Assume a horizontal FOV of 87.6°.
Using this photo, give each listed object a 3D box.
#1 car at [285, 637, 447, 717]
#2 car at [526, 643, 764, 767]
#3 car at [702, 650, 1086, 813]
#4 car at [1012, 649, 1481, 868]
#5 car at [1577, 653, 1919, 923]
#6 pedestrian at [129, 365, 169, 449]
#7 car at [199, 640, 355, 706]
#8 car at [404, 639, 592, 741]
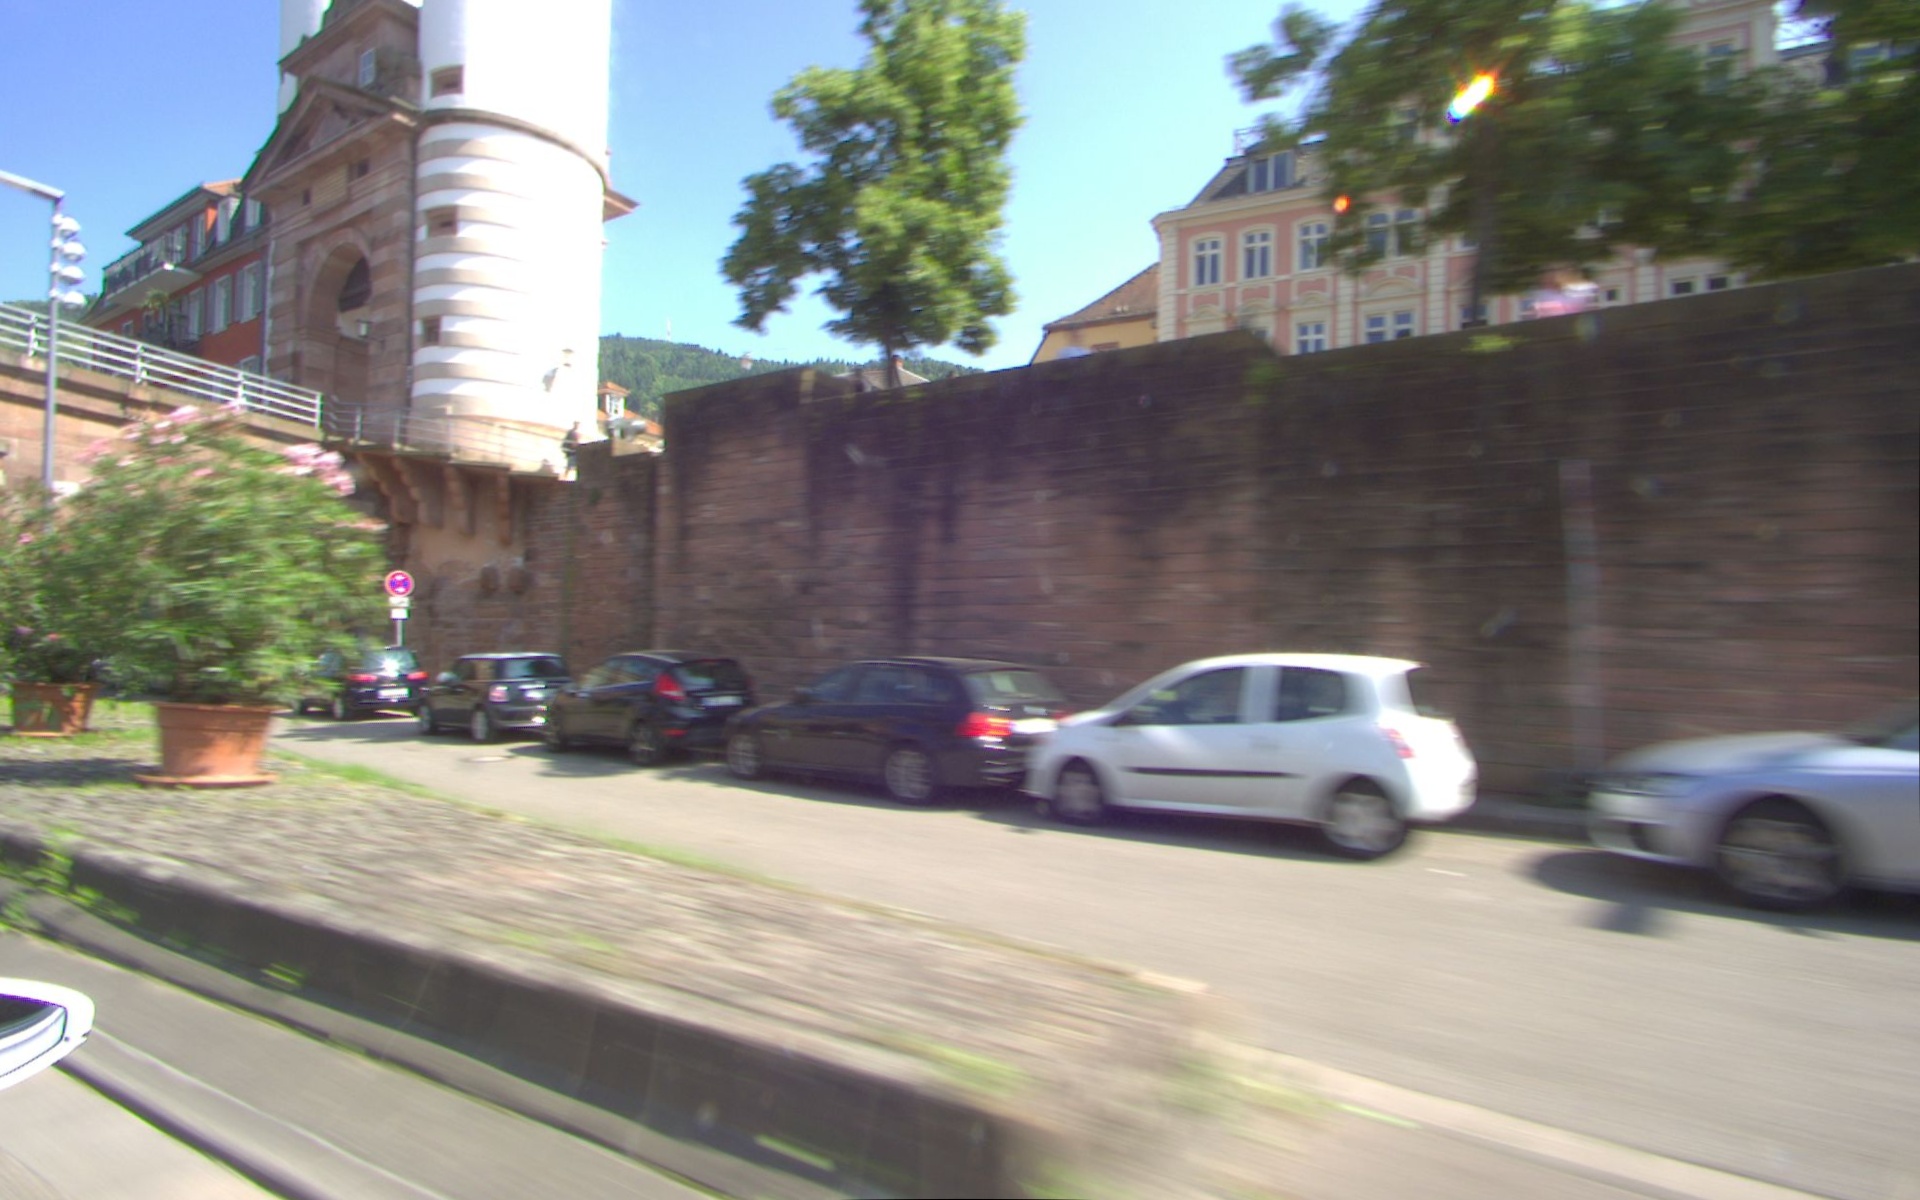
[{"bbox_3d":[-12.737,1.574,21.403,3.939,1.521,1.768,-1,-2,40],"label":"car"},{"bbox_3d":[-4.510,1.381,14.116,3.673,1.503,1.489,-2,-3,41],"label":"car"},{"bbox_3d":[-0.889,1.280,11.075,4.359,1.406,1.702,-2,-2,42],"label":"car"},{"bbox_3d":[2.373,1.167,8.536,3.500,1.475,1.707,-2,-3,35],"label":"car"},{"bbox_3d":[6.324,1.041,5.682,4.694,1.450,1.749,-2,-3,36],"label":"car"},{"bbox_3d":[-21.657,-5.132,26.746,0.578,2.039,0.682,-1,-2,33],"label":"pedestrian"},{"bbox_3d":[-16.812,1.728,24.573,4.433,1.455,1.771,-1,-3,36],"label":"car"},{"bbox_3d":[-7.997,1.461,17.191,3.862,1.539,1.583,-2,-3,43],"label":"car"}]
